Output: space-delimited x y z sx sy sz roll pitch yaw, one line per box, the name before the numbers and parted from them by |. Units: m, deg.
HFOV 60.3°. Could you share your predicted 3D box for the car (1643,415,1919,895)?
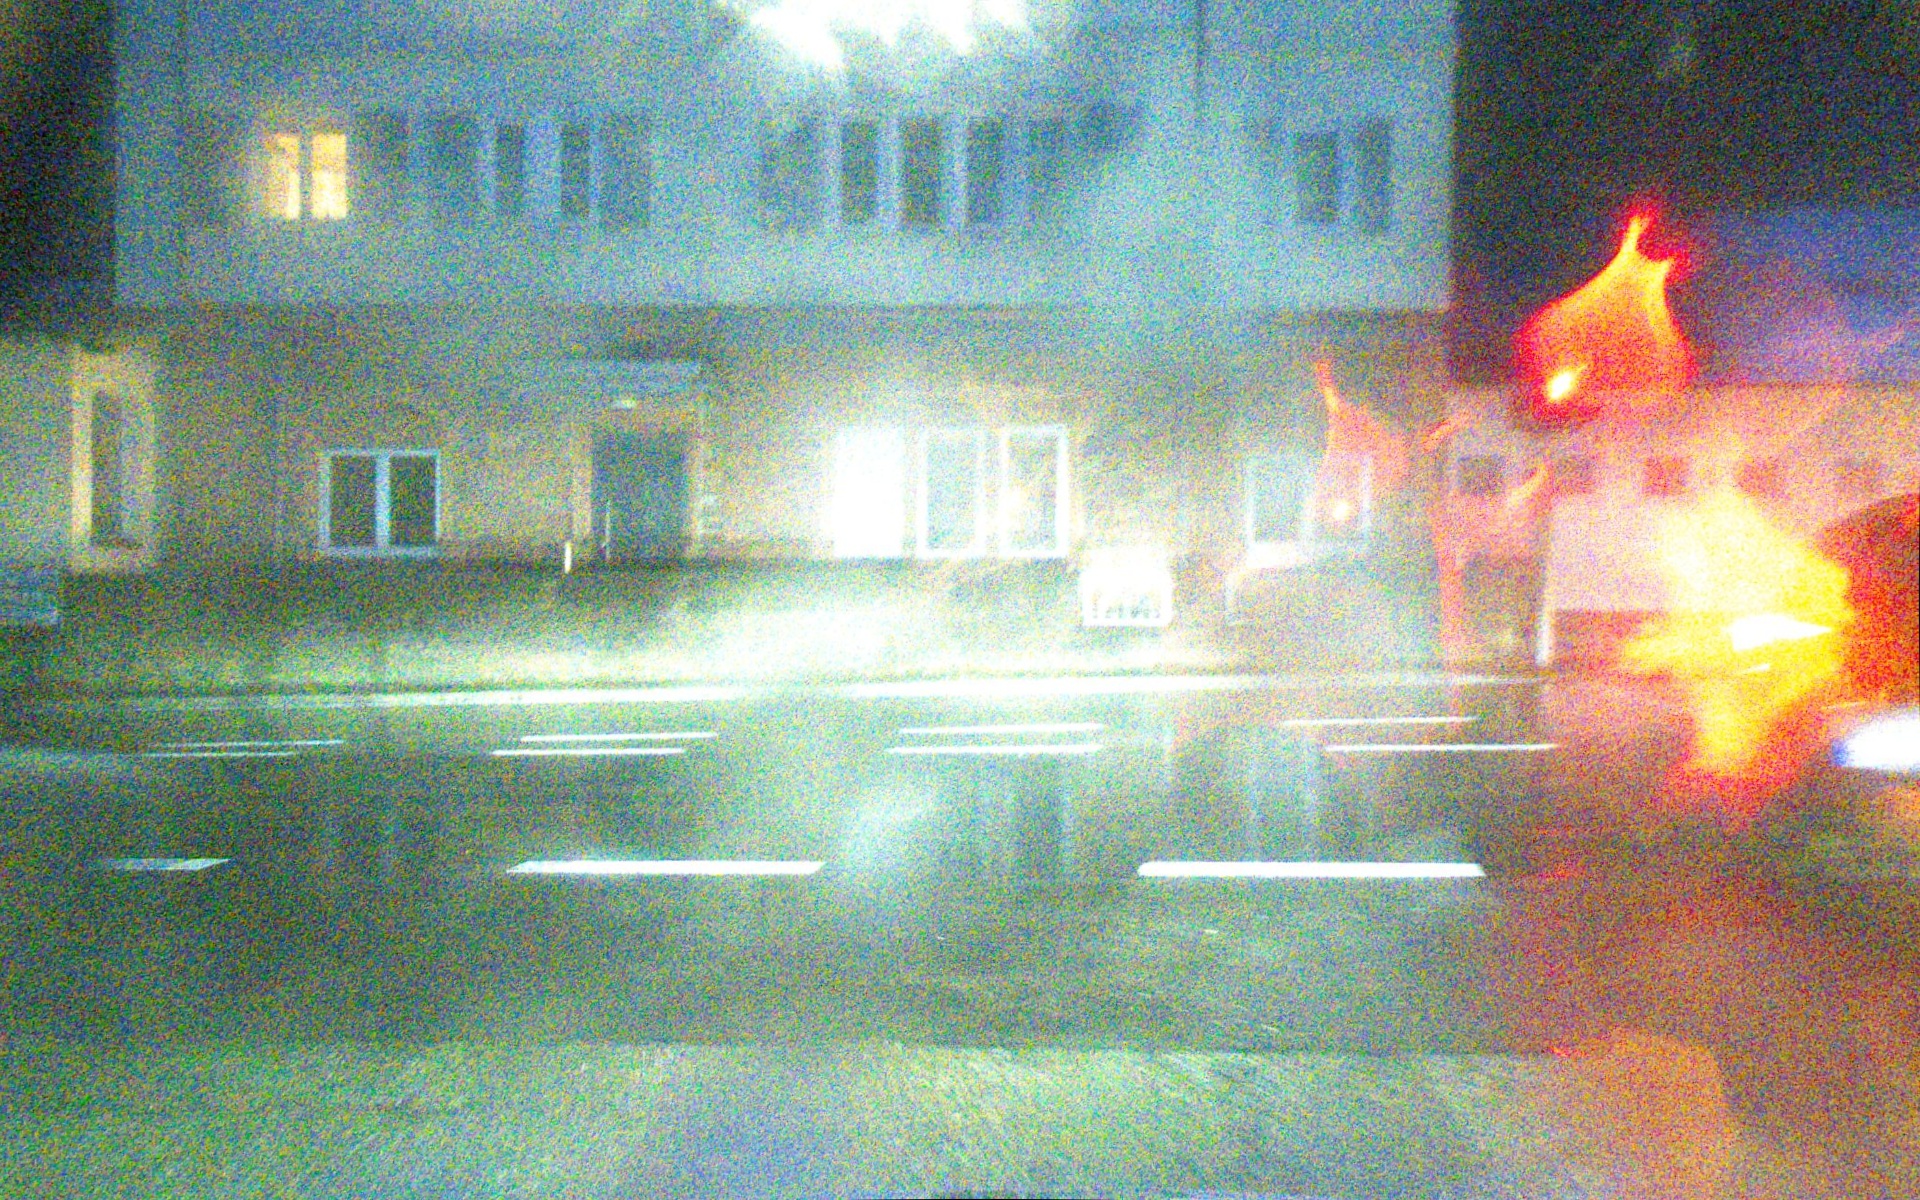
car | 5.063 0.246 7.122 4.092 1.707 2.039 2 2 -36
